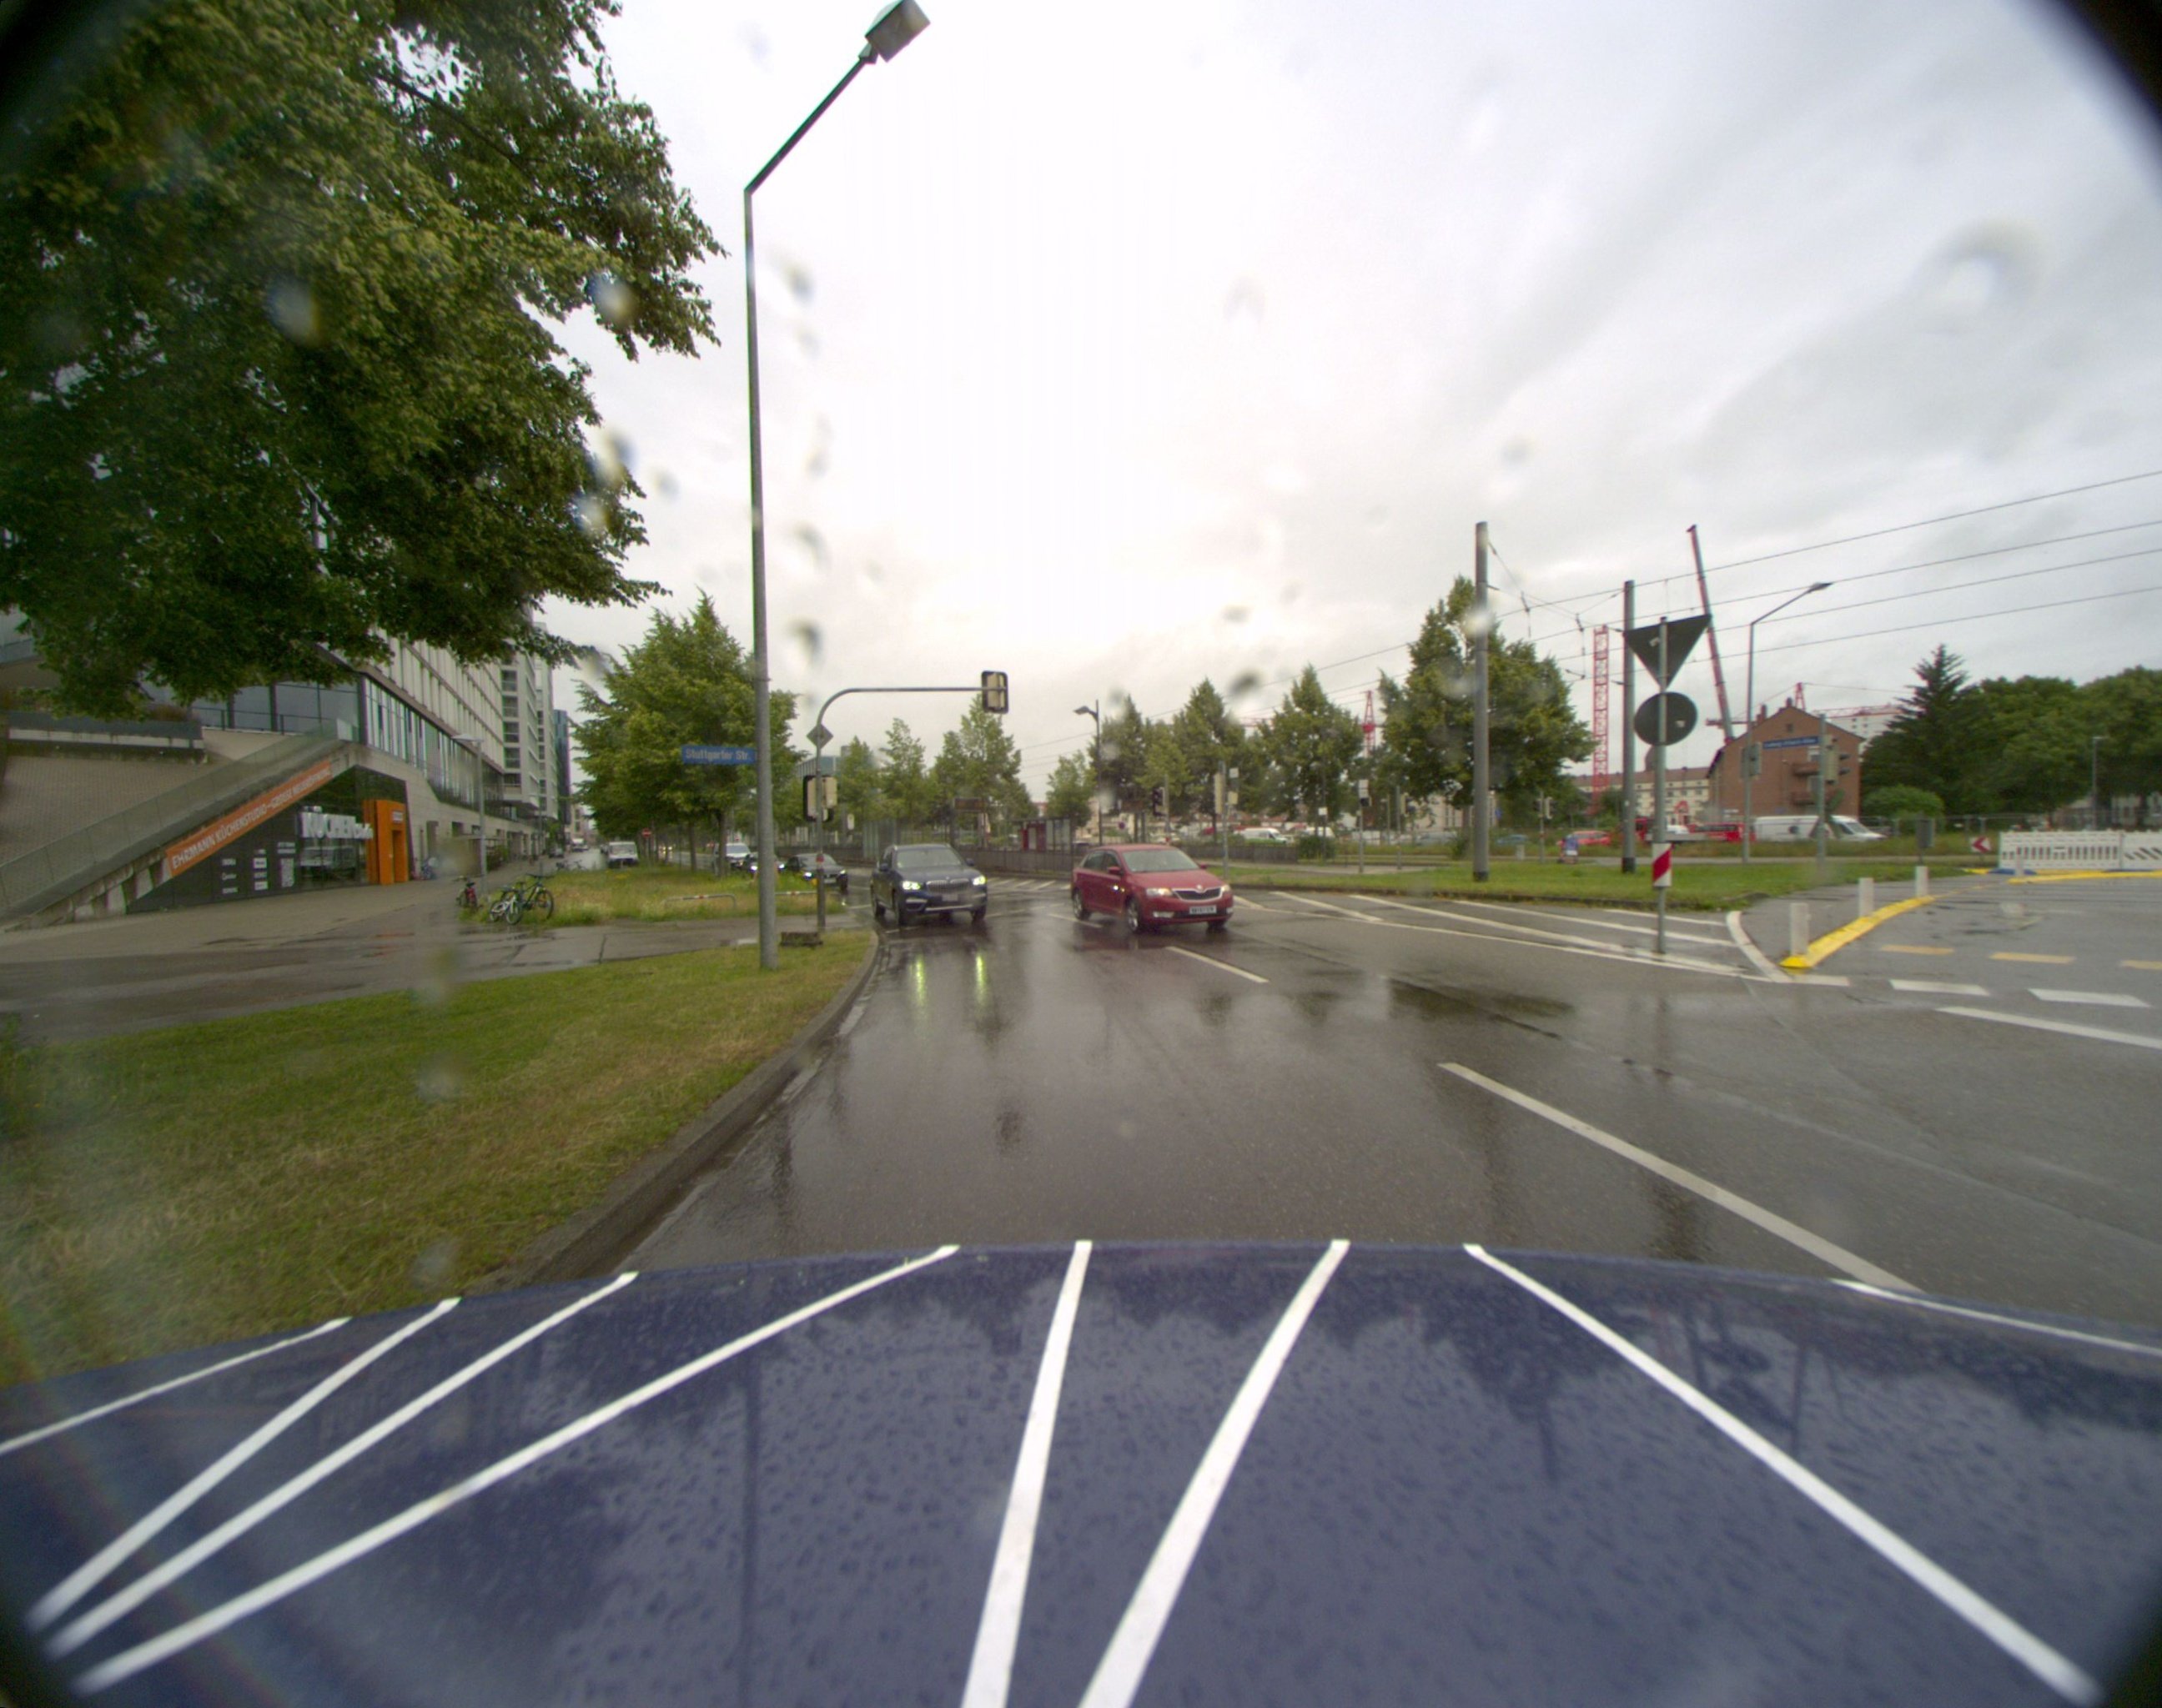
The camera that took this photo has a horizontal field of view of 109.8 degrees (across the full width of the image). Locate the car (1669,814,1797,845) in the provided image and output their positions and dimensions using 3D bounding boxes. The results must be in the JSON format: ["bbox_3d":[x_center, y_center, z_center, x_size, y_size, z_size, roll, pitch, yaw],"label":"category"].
[{"bbox_3d":[45.093,-1.679,52.771,2.359,2.002,6.415,-2,2,-20],"label":"car"}]

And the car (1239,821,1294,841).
[{"bbox_3d":[25.615,-3.169,105.271,2.360,2.463,7.618,-5,4,-35],"label":"car"}]

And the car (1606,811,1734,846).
[{"bbox_3d":[38.807,-1.689,50.305,2.359,2.003,6.414,-4,3,-20],"label":"car"}]

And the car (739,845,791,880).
[{"bbox_3d":[-16.541,0.393,39.694,1.791,1.639,3.989,-5,4,-31],"label":"car"}]

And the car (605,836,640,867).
[{"bbox_3d":[-36.127,-0.222,59.912,2.089,2.190,5.084,-5,4,-31],"label":"car"}]

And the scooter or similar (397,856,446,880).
[{"bbox_3d":[-36.007,0.747,41.537,0.812,1.093,2.610,-4,3,-13],"label":"scooter or similar"}]

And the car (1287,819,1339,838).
[{"bbox_3d":[32.509,-3.537,106.815,2.505,2.463,6.817,-5,4,-35],"label":"car"}]

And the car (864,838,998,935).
[{"bbox_3d":[-3.502,0.580,16.997,1.919,1.737,4.373,-4,3,-24],"label":"car"}]

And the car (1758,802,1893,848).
[{"bbox_3d":[52.461,-2.030,53.759,2.359,2.924,6.414,-4,3,-20],"label":"car"}]

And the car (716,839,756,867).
[{"bbox_3d":[-22.122,-0.107,48.614,1.791,1.639,3.989,-5,4,-31],"label":"car"}]

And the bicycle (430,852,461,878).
[{"bbox_3d":[-37.449,0.630,44.794,0.884,1.340,2.690,-5,4,-31],"label":"bicycle"}]

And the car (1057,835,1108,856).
[{"bbox_3d":[0.082,-0.669,59.011,1.855,1.478,4.214,-5,4,-34],"label":"car"}]

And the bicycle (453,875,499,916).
[{"bbox_3d":[-14.388,0.959,18.110,0.637,0.842,2.158,-3,2,-34],"label":"bicycle"}]

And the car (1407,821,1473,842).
[{"bbox_3d":[43.245,-2.684,91.725,2.361,2.463,6.816,-3,3,-45],"label":"car"}]

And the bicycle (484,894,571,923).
[{"bbox_3d":[-11.874,1.167,16.306,1.800,0.555,0.321,-2,2,10],"label":"bicycle"}]

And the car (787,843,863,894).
[{"bbox_3d":[-10.126,0.496,29.863,1.920,1.737,4.372,-5,3,-30],"label":"car"}]

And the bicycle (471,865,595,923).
[{"bbox_3d":[-11.920,0.862,16.532,2.521,1.182,0.553,-2,2,10],"label":"bicycle"}]

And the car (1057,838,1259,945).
[{"bbox_3d":[1.163,0.516,13.671,1.790,1.451,4.306,-4,3,-21],"label":"car"}]
